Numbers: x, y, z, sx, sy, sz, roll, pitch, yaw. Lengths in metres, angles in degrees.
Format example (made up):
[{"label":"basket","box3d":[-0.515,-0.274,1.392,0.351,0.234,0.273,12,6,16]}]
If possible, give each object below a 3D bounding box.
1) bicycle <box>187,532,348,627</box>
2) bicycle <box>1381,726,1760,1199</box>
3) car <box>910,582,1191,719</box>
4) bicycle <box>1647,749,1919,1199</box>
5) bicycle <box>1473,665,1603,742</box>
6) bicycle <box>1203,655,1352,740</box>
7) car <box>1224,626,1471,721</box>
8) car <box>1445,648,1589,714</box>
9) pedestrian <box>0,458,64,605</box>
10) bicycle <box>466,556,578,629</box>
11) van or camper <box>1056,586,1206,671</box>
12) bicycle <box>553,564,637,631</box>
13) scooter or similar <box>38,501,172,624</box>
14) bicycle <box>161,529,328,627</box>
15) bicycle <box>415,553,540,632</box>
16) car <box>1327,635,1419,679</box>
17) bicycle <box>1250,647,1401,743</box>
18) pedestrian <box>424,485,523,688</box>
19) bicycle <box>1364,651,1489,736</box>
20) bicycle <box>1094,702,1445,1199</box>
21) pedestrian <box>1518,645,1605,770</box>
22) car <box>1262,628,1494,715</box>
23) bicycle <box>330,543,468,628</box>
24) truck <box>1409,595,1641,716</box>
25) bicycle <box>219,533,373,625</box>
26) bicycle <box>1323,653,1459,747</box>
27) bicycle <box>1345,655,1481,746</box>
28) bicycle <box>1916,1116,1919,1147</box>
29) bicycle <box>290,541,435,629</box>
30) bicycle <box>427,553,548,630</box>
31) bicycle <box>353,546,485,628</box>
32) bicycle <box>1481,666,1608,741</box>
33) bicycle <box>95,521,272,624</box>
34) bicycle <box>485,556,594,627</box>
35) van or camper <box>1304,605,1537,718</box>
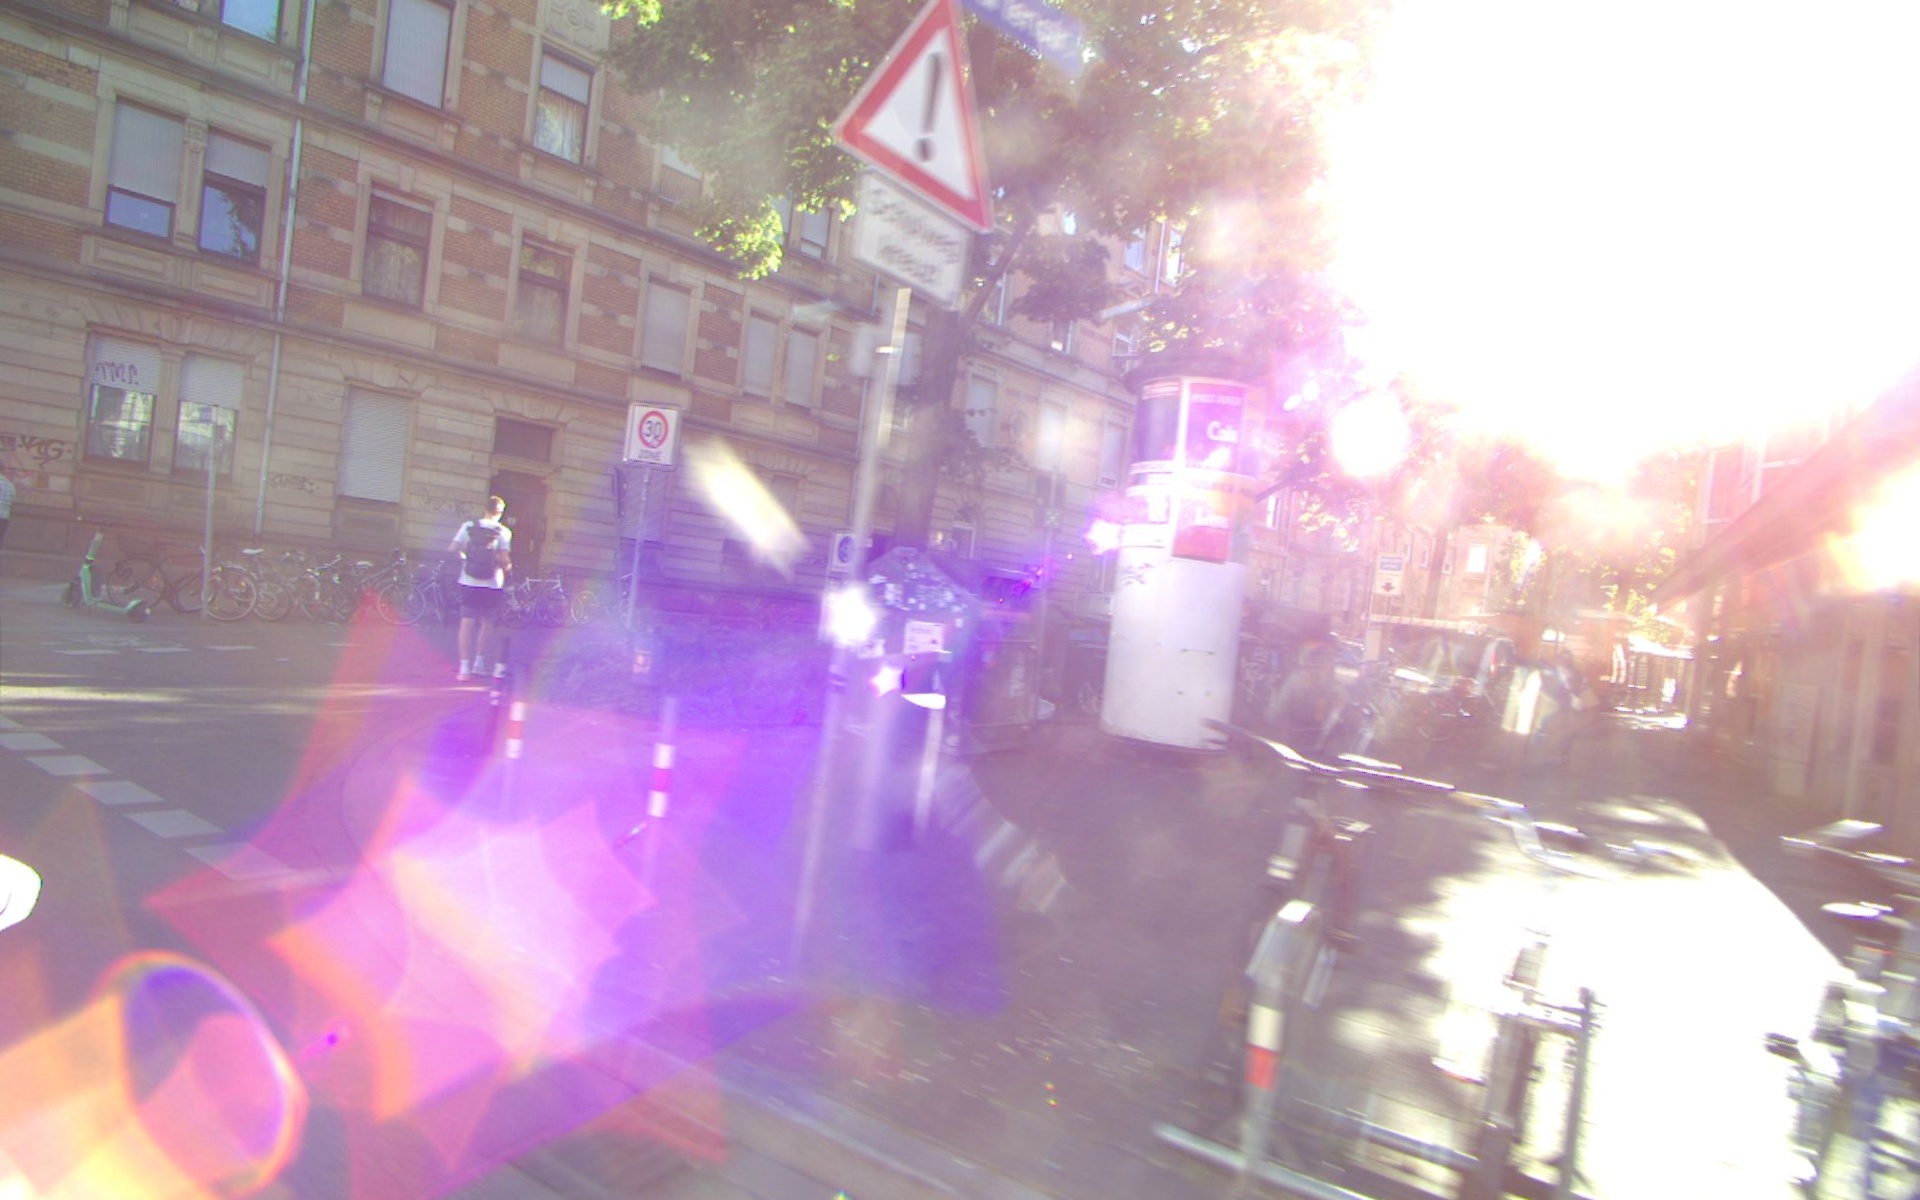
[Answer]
[{"label":"bicycle","box3d":[-9.883,-0.286,14.393,1.784,1.129,0.443,7,1,-10]},{"label":"bicycle","box3d":[1.655,1.010,2.869,0.554,1.120,1.948,7,0,29]},{"label":"car","box3d":[1.311,0.740,15.737,1.987,1.622,3.952,7,0,-43]},{"label":"bicycle","box3d":[2.279,1.082,2.523,0.617,1.180,1.948,7,0,29]},{"label":"bicycle","box3d":[10.630,1.878,18.549,1.952,1.121,0.647,7,1,31]},{"label":"bicycle","box3d":[4.656,1.414,14.875,0.648,0.959,1.979,6,0,-40]},{"label":"car","box3d":[8.103,1.510,21.347,1.914,1.419,4.410,7,-1,-42]},{"label":"car","box3d":[15.433,2.226,27.924,3.170,1.345,1.617,7,0,40]},{"label":"pedestrian","box3d":[-12.475,-0.919,13.165,0.862,1.831,0.847,8,2,36]},{"label":"bicycle","box3d":[-8.093,-0.139,18.616,1.781,1.129,0.444,7,1,-1]},{"label":"van or camper","box3d":[5.075,0.874,29.518,4.360,2.004,1.934,7,0,-43]},{"label":"bicycle","box3d":[-7.231,-0.057,19.899,1.785,1.129,0.443,7,1,32]},{"label":"scooter or similar","box3d":[-10.392,-0.455,12.225,1.493,1.305,0.391,7,1,15]},{"label":"bicycle","box3d":[-9.875,-0.298,13.924,1.784,1.129,0.443,7,1,-9]},{"label":"bicycle","box3d":[-8.230,-0.124,17.215,1.784,1.129,0.443,7,1,-10]},{"label":"car","box3d":[17.201,2.401,41.832,3.973,1.485,1.975,6,0,-44]},{"label":"bicycle","box3d":[5.454,1.408,15.128,0.648,1.153,1.979,6,1,-40]},{"label":"pedestrian","box3d":[-5.200,-0.143,10.770,0.709,2.009,0.937,7,1,-26]},{"label":"bicycle","box3d":[7.750,1.540,16.754,1.669,1.153,0.675,7,1,38]},{"label":"bicycle","box3d":[1.098,0.951,3.173,0.554,1.120,1.948,7,0,29]},{"label":"pedestrian","box3d":[8.372,1.481,14.003,0.820,1.593,0.685,7,1,37]},{"label":"car","box3d":[9.633,1.623,23.459,1.986,1.419,4.496,7,-1,-42]},{"label":"bicycle","box3d":[-8.937,-0.220,16.069,1.784,1.129,0.443,7,1,-10]},{"label":"truck","box3d":[16.977,1.608,30.506,2.090,2.948,5.510,6,0,-43]},{"label":"bicycle","box3d":[-9.806,-0.305,14.896,1.784,1.129,0.443,7,1,-10]},{"label":"bicycle","box3d":[6.446,1.482,15.108,0.594,1.153,1.674,6,1,-43]},{"label":"bicycle","box3d":[6.992,1.532,15.584,0.697,1.153,1.674,6,1,-43]},{"label":"bicycle","box3d":[2.863,1.137,2.189,0.554,1.120,1.948,7,0,29]},{"label":"bicycle","box3d":[-9.183,-0.228,15.508,1.784,1.129,0.443,7,1,-10]},{"label":"bicycle","box3d":[-8.286,-0.148,17.685,1.784,1.129,0.443,7,1,-10]},{"label":"bicycle","box3d":[-8.900,-0.206,16.592,1.784,1.129,0.443,7,1,-10]},{"label":"bicycle","box3d":[11.107,1.951,19.159,1.952,1.121,0.673,7,1,31]},{"label":"bicycle","box3d":[-10.286,-0.356,13.360,1.784,1.129,0.443,7,1,-9]},{"label":"bicycle","box3d":[-7.990,-0.160,19.134,1.781,1.129,0.444,7,1,-1]},{"label":"van or camper","box3d":[11.347,1.475,25.088,2.074,2.165,4.685,6,0,-39]}]
